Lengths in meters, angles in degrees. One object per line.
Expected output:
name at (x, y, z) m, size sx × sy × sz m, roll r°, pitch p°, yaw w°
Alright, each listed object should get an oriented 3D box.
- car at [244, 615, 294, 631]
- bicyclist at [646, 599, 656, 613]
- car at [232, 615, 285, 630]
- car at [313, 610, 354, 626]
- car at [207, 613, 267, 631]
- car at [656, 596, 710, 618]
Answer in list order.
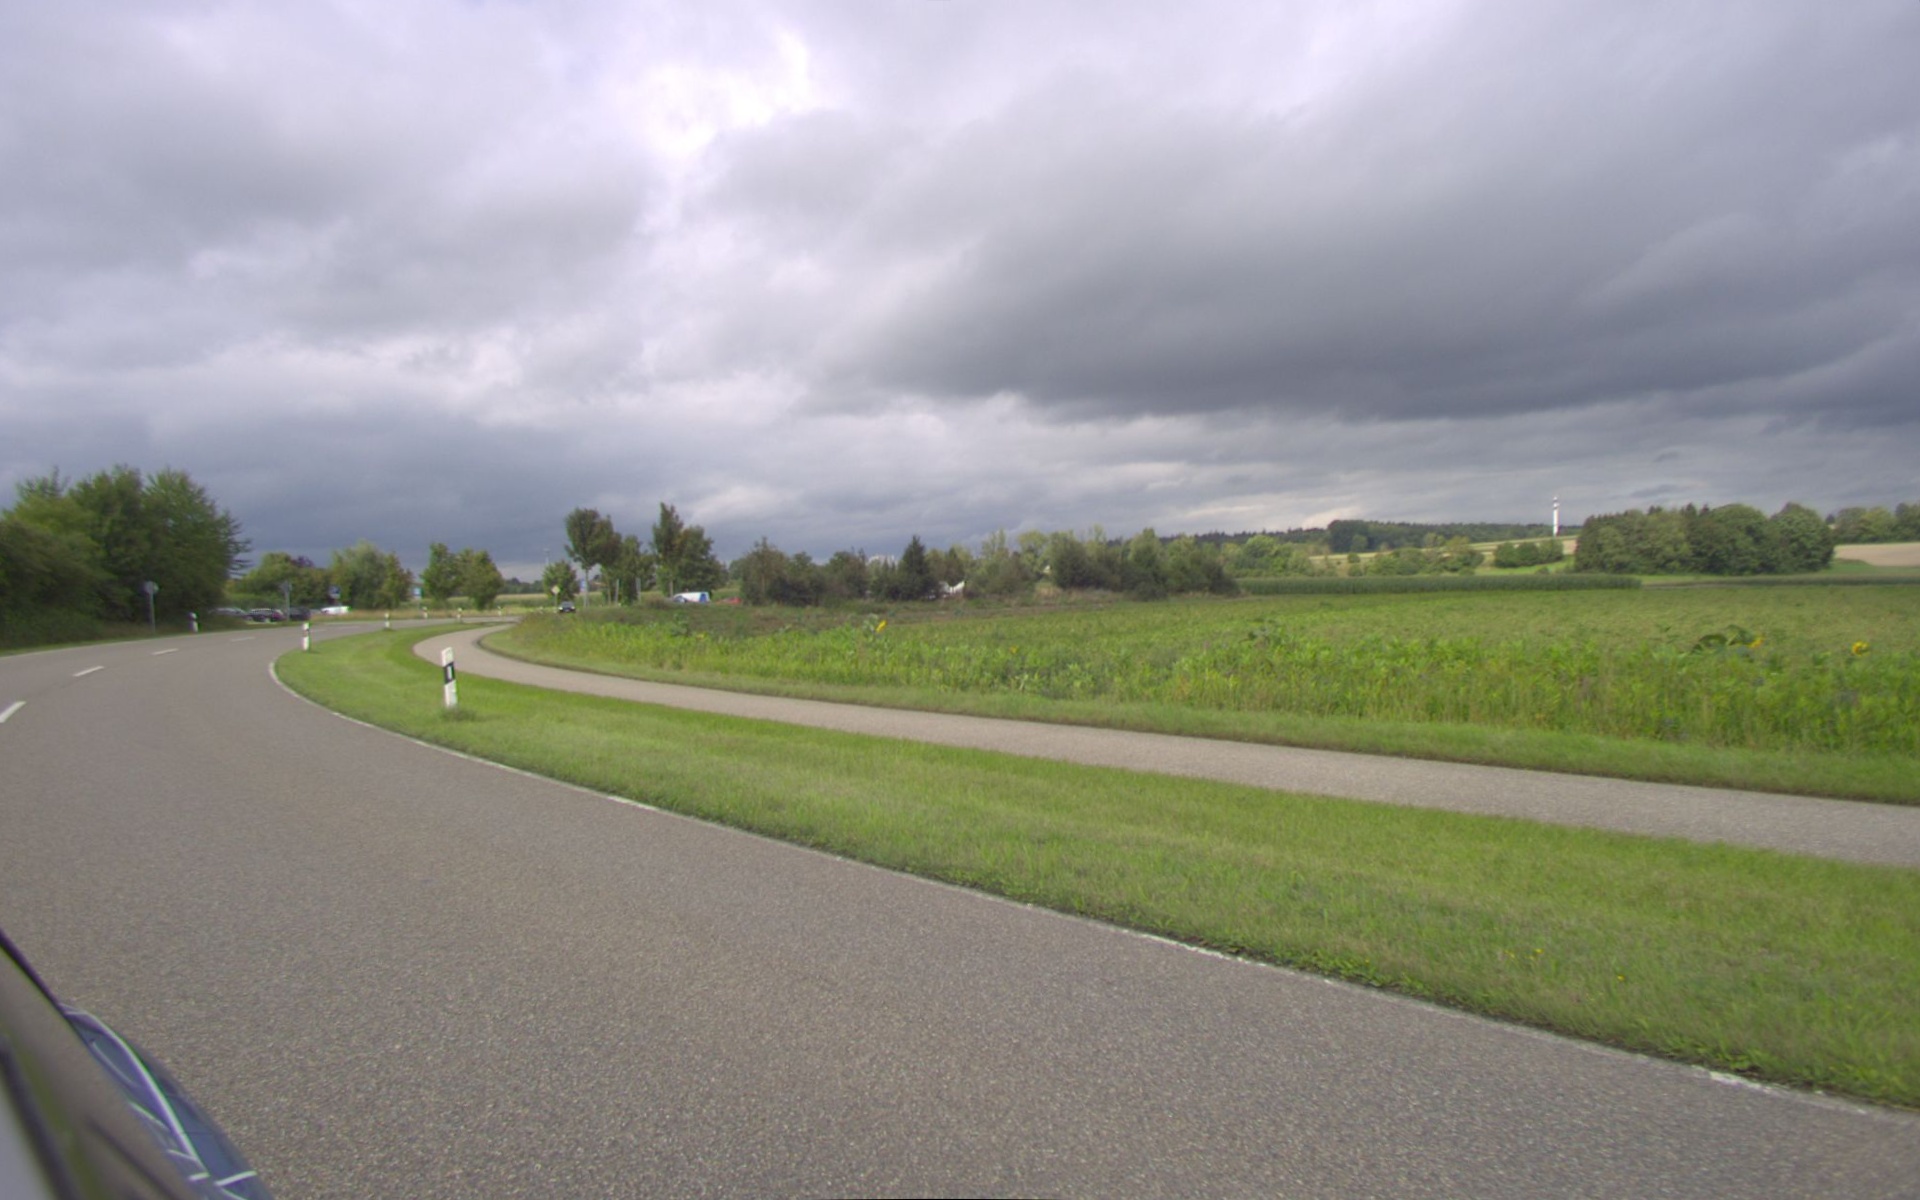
car at (-73.602, 2.442, 107.791) m, size 3.943 × 1.516 × 2.057 m, roll -1°, pitch 0°, yaw -15°
bicyclist at (-36.808, 0.718, 120.598) m, size 0.821 × 1.577 × 1.055 m, roll -1°, pitch 0°, yaw -1°
car at (-72.395, 2.348, 104.470) m, size 4.093 × 1.424 × 2.007 m, roll -1°, pitch 0°, yaw -21°
car at (-78.964, 2.297, 127.634) m, size 3.931 × 1.874 × 2.006 m, roll -1°, pitch 0°, yaw -17°
car at (-70.506, 2.111, 98.793) m, size 4.415 × 1.593 × 2.007 m, roll -1°, pitch 0°, yaw -21°
car at (-27.113, 0.666, 99.195) m, size 4.834 × 2.029 × 2.059 m, roll -2°, pitch 0°, yaw -5°
